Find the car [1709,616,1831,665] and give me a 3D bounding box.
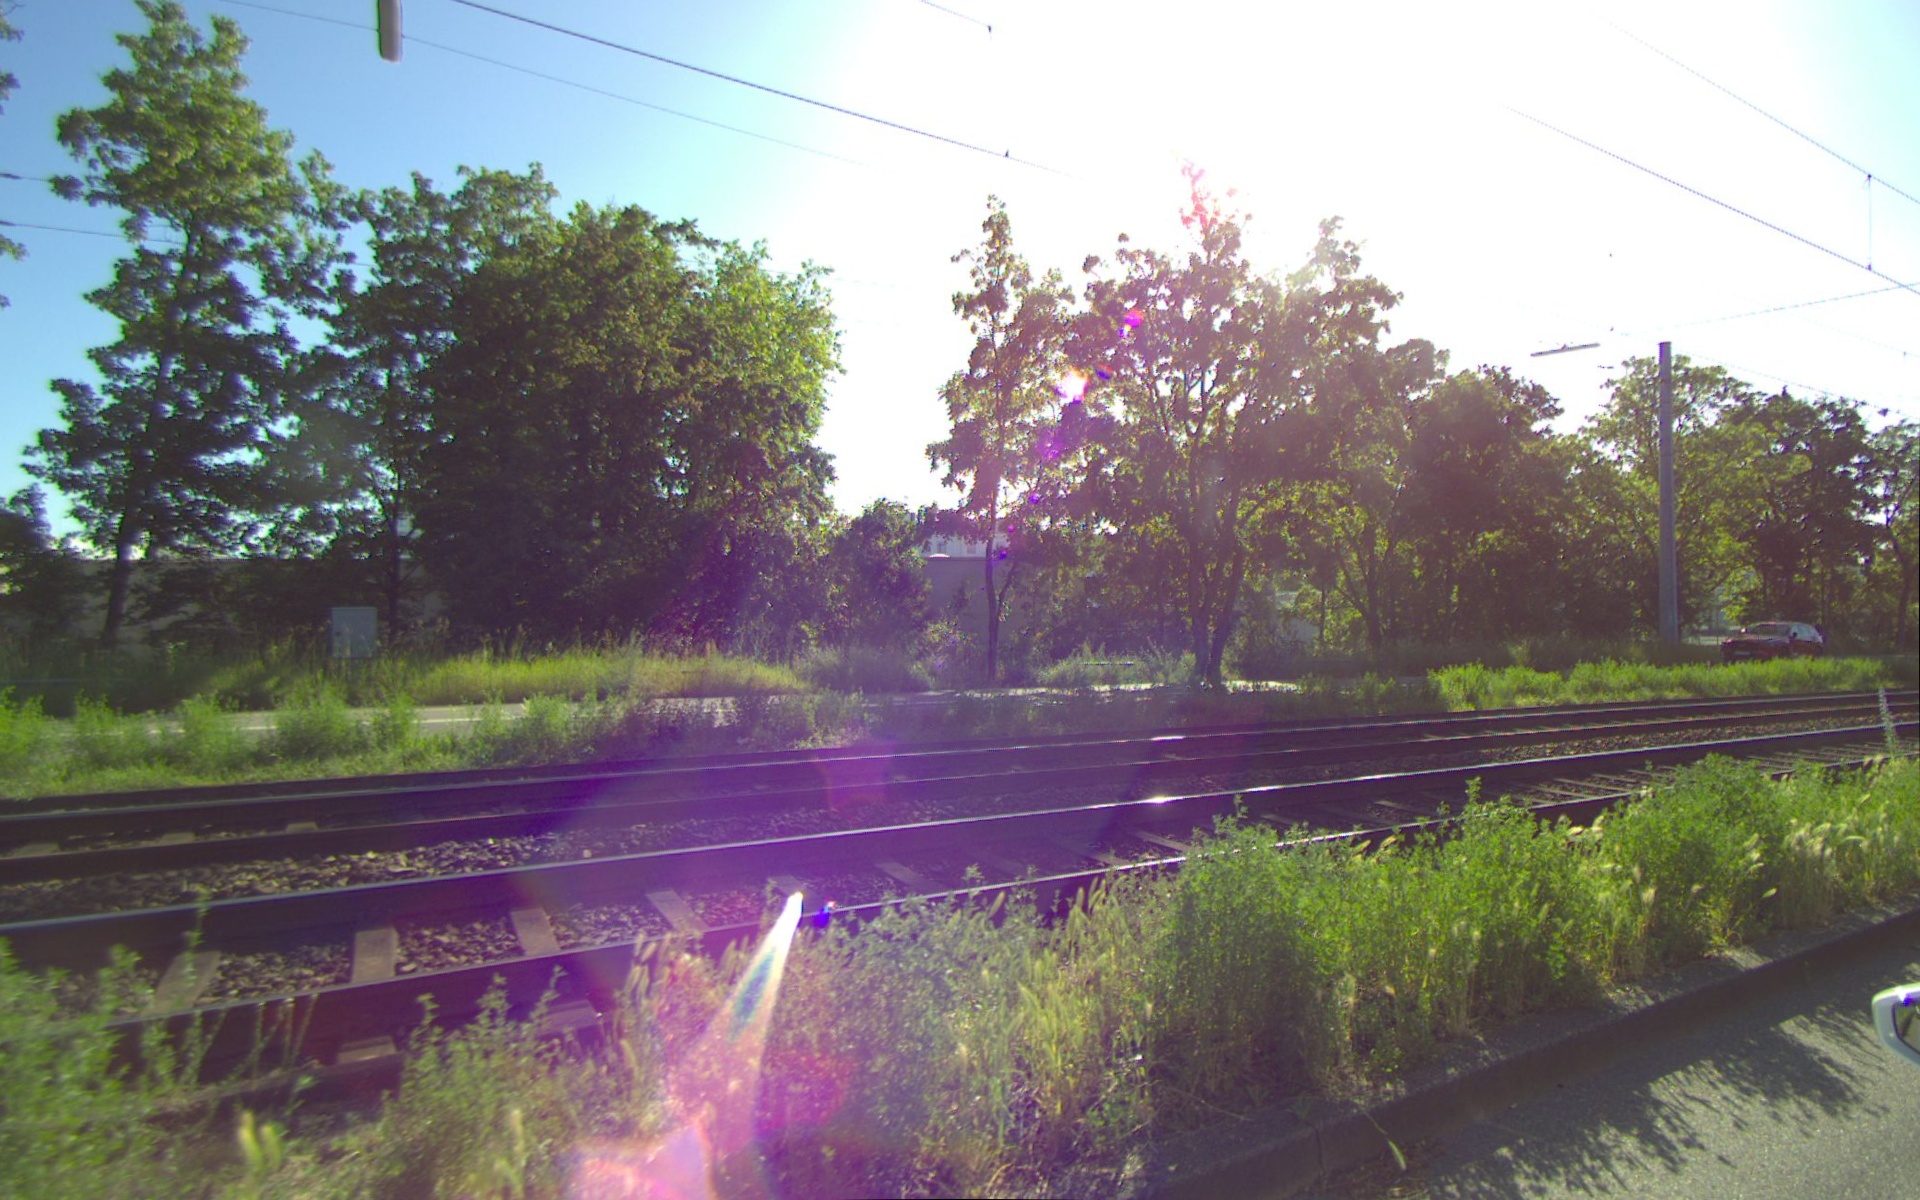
[{"bbox_3d":[30.562,1.523,37.902,4.410,1.725,1.997,1,-1,-27],"label":"car"}]
